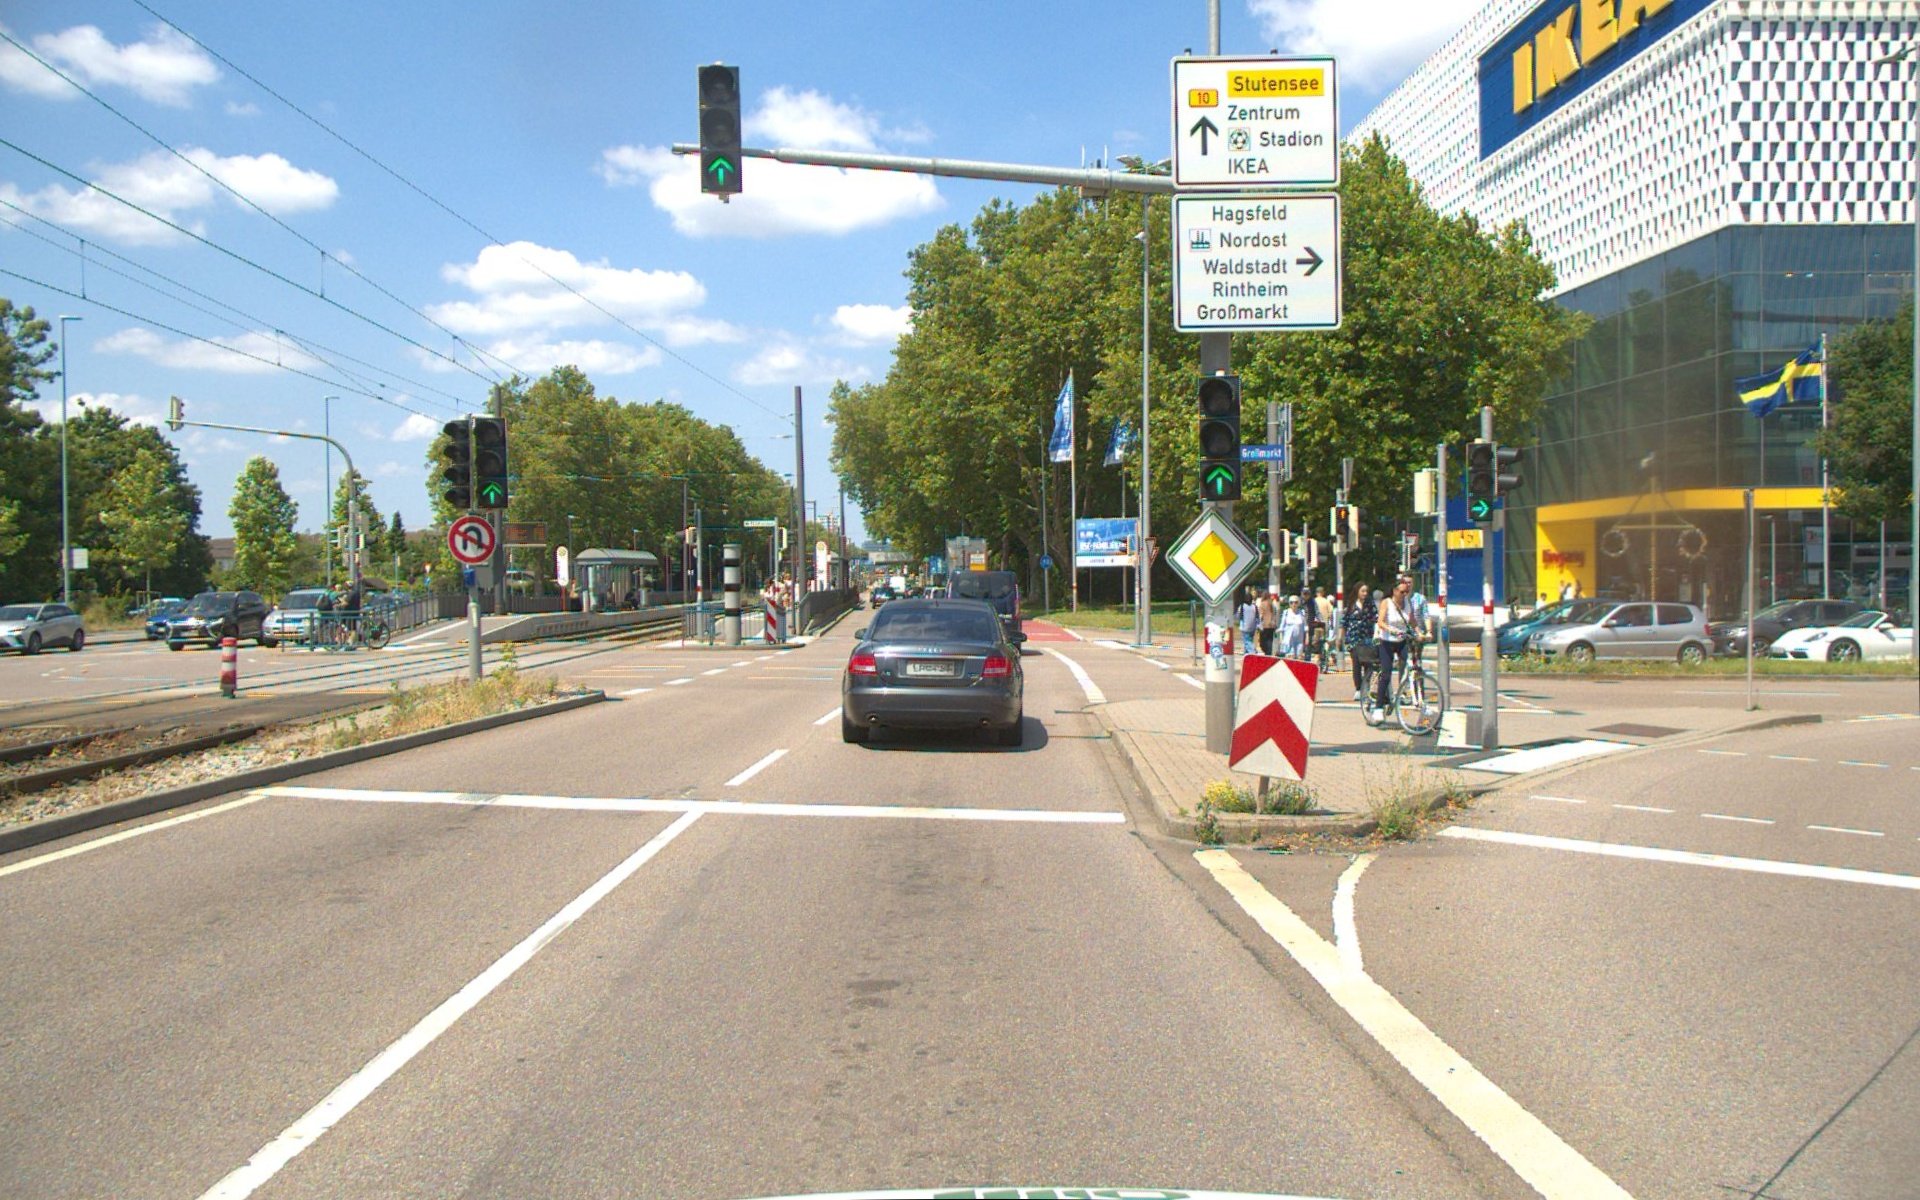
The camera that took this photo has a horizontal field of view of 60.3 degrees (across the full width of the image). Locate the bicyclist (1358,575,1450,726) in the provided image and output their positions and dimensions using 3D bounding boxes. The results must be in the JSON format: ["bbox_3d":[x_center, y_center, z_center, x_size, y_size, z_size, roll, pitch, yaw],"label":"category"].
[{"bbox_3d":[5.211,0.582,19.443,0.798,1.730,0.798,1,0,-7],"label":"bicyclist"}]

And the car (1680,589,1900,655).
[{"bbox_3d":[19.520,0.506,39.010,4.312,1.468,1.852,0,0,-3],"label":"car"}]

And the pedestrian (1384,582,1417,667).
[{"bbox_3d":[8.840,0.491,33.174,0.589,1.666,0.864,0,-1,12],"label":"pedestrian"}]

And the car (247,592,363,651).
[{"bbox_3d":[-19.627,0.617,49.730,1.953,1.657,3.999,0,0,-1],"label":"car"}]

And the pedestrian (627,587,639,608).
[{"bbox_3d":[-18.494,-0.140,93.664,0.565,1.211,0.639,-1,1,-2],"label":"pedestrian"}]

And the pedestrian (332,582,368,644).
[{"bbox_3d":[-16.982,0.347,46.040,0.747,1.701,0.763,0,1,-5],"label":"pedestrian"}]

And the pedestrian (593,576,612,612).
[{"bbox_3d":[-17.711,-0.282,81.994,0.723,1.759,0.576,0,1,35],"label":"pedestrian"}]

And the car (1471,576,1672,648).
[{"bbox_3d":[14.149,0.262,38.400,3.908,1.583,1.999,0,0,-4],"label":"car"}]

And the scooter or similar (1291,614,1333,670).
[{"bbox_3d":[6.749,0.795,31.722,0.675,1.049,0.863,0,0,5],"label":"scooter or similar"}]

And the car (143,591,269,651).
[{"bbox_3d":[-22.190,0.583,48.871,1.953,1.657,3.999,0,1,-1],"label":"car"}]

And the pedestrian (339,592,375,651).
[{"bbox_3d":[-16.288,0.574,44.689,0.747,1.575,0.763,0,1,-5],"label":"pedestrian"}]

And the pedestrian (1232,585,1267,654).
[{"bbox_3d":[7.020,0.464,40.048,0.749,1.634,0.897,0,0,15],"label":"pedestrian"}]

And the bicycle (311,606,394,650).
[{"bbox_3d":[-15.541,0.715,42.370,1.941,1.120,0.761,0,0,-18],"label":"bicycle"}]

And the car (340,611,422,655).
[{"bbox_3d":[-23.413,1.316,67.001,1.953,1.657,3.999,0,0,-1],"label":"car"}]

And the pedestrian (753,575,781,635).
[{"bbox_3d":[-5.945,0.145,51.028,0.846,1.833,0.882,0,0,-6],"label":"pedestrian"}]

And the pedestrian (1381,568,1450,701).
[{"bbox_3d":[6.589,0.489,23.964,0.787,1.897,0.798,0,0,2],"label":"pedestrian"}]

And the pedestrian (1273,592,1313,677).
[{"bbox_3d":[5.966,0.611,29.662,0.577,1.501,0.806,1,0,3],"label":"pedestrian"}]

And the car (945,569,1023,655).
[{"bbox_3d":[0.557,0.270,41.057,1.811,1.993,4.144,1,0,-1],"label":"car"}]

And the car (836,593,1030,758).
[{"bbox_3d":[-0.252,0.699,17.466,1.805,1.510,4.000,1,0,0],"label":"car"}]

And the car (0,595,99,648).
[{"bbox_3d":[-28.163,0.621,50.201,1.954,1.489,4.276,1,0,-3],"label":"car"}]

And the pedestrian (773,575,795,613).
[{"bbox_3d":[-7.505,-0.257,70.594,0.873,1.633,0.923,0,1,-4],"label":"pedestrian"}]

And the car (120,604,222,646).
[{"bbox_3d":[-29.842,0.924,62.674,1.954,1.470,4.347,0,1,-3],"label":"car"}]

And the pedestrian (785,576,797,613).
[{"bbox_3d":[-7.386,-0.240,72.399,0.487,1.605,0.556,0,0,-4],"label":"pedestrian"}]

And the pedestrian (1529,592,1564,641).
[{"bbox_3d":[19.199,0.535,54.135,0.900,1.613,0.632,0,0,-8],"label":"pedestrian"}]

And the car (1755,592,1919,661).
[{"bbox_3d":[19.584,0.557,35.522,4.132,1.422,1.804,1,0,1],"label":"car"}]

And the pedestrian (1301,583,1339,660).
[{"bbox_3d":[7.950,0.466,36.526,0.778,1.688,0.853,0,0,15],"label":"pedestrian"}]

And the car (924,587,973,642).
[{"bbox_3d":[-0.446,0.524,63.362,1.811,1.993,4.144,1,0,-1],"label":"car"}]

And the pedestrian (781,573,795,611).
[{"bbox_3d":[-7.670,-0.357,73.832,0.601,1.710,0.719,0,0,-4],"label":"pedestrian"}]

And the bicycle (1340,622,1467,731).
[{"bbox_3d":[5.204,0.870,19.520,0.813,1.182,1.876,0,0,-6],"label":"bicycle"}]

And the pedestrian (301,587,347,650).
[{"bbox_3d":[-16.737,0.488,43.556,0.938,1.638,0.763,0,1,-5],"label":"pedestrian"}]

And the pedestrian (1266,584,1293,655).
[{"bbox_3d":[7.834,0.475,40.545,0.609,1.712,0.726,0,0,15],"label":"pedestrian"}]

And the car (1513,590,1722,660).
[{"bbox_3d":[13.965,0.512,35.264,3.745,1.421,1.804,1,0,0],"label":"car"}]

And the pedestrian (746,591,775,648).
[{"bbox_3d":[-5.624,0.548,46.647,0.770,1.600,0.764,0,0,-6],"label":"pedestrian"}]

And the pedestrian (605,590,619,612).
[{"bbox_3d":[-18.115,0.032,86.076,0.565,1.114,0.639,-1,1,-2],"label":"pedestrian"}]

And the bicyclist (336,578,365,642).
[{"bbox_3d":[-15.606,0.253,42.339,0.654,1.643,0.730,1,0,-18],"label":"bicyclist"}]

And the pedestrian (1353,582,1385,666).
[{"bbox_3d":[8.233,0.481,33.335,0.593,1.666,0.864,0,-1,12],"label":"pedestrian"}]

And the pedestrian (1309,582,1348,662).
[{"bbox_3d":[7.890,0.467,35.401,0.778,1.688,0.853,0,0,15],"label":"pedestrian"}]

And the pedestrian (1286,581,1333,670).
[{"bbox_3d":[6.802,0.490,32.199,0.765,1.702,0.947,0,0,5],"label":"pedestrian"}]

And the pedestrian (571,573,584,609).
[{"bbox_3d":[-17.692,-0.423,76.491,0.547,1.666,0.805,0,0,-10],"label":"pedestrian"}]

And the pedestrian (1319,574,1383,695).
[{"bbox_3d":[5.870,0.507,24.843,0.787,1.790,0.798,0,0,2],"label":"pedestrian"}]
